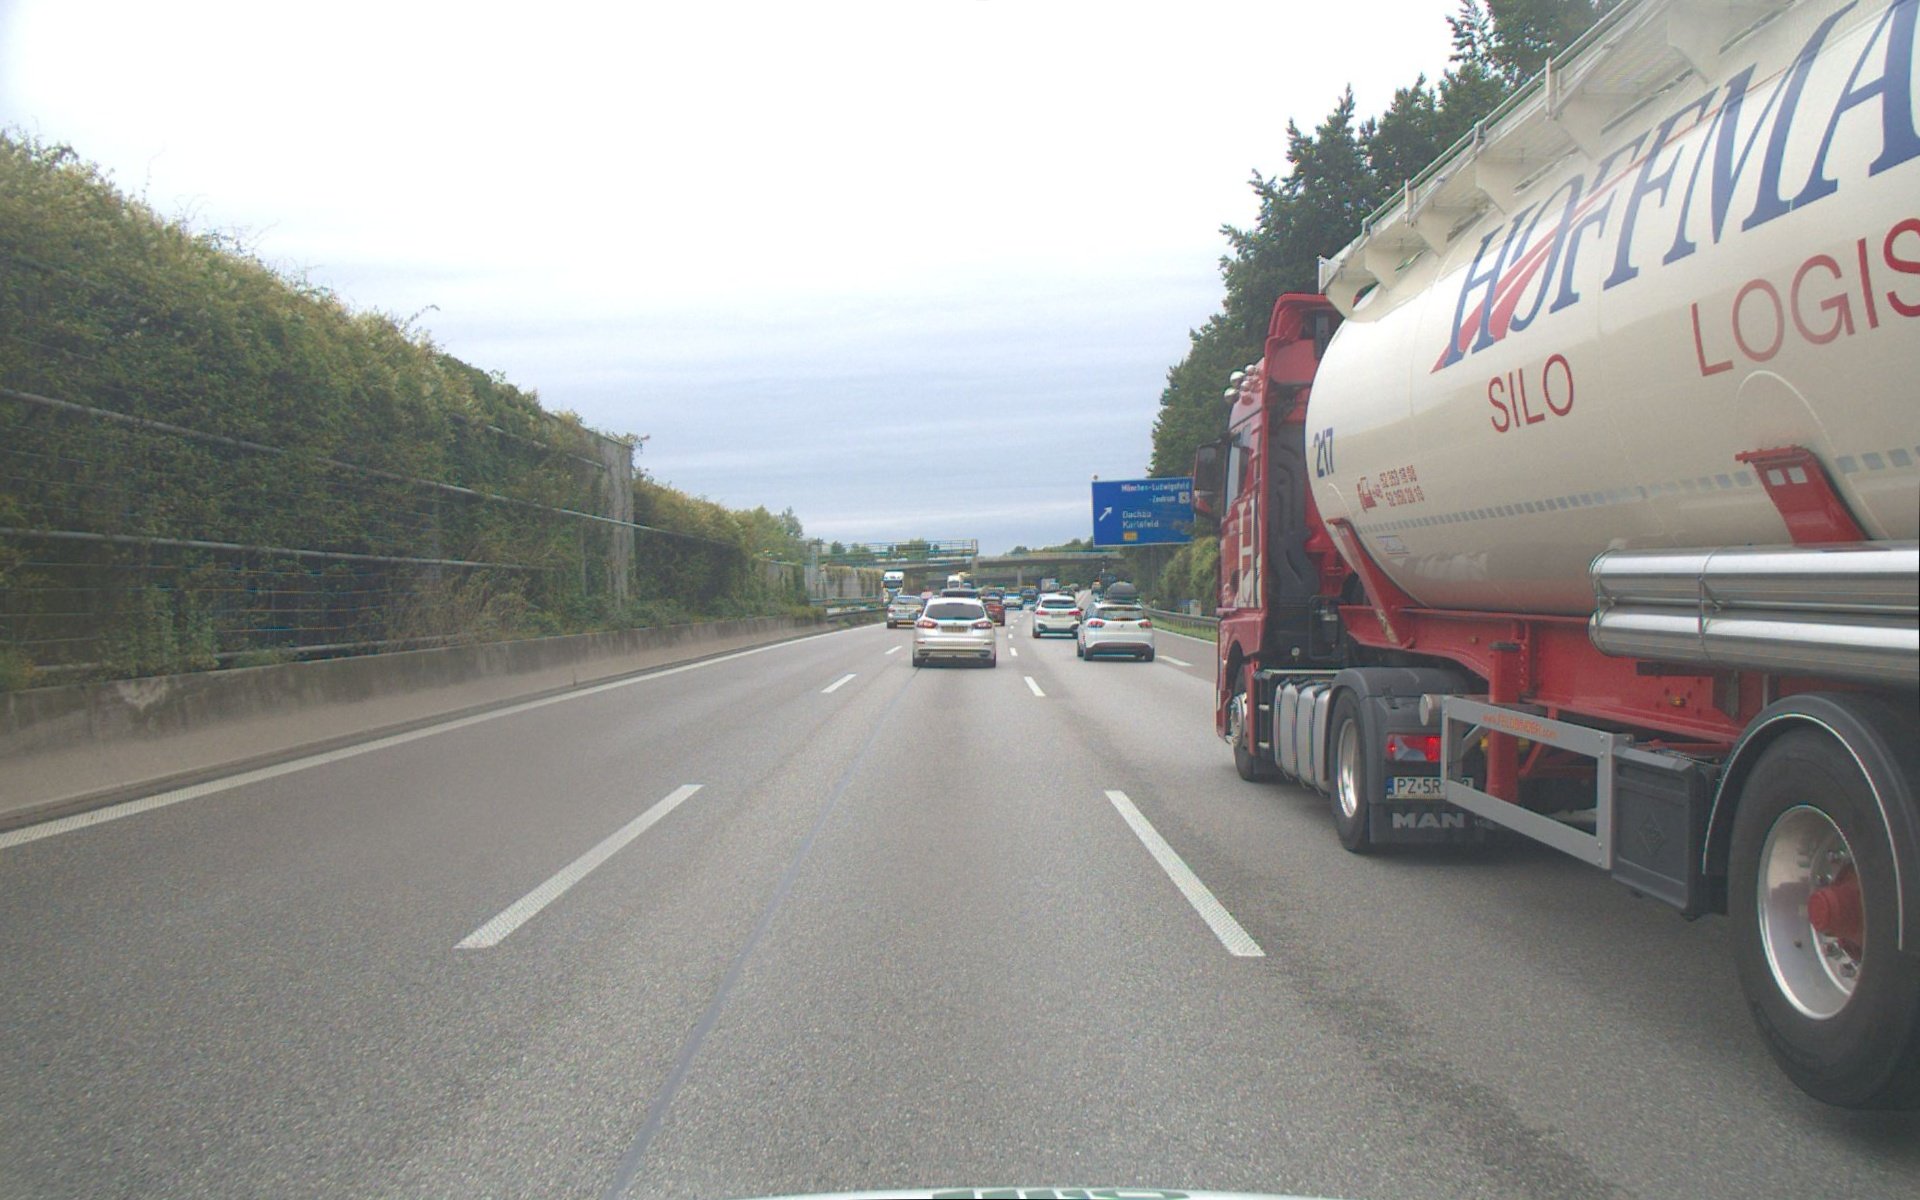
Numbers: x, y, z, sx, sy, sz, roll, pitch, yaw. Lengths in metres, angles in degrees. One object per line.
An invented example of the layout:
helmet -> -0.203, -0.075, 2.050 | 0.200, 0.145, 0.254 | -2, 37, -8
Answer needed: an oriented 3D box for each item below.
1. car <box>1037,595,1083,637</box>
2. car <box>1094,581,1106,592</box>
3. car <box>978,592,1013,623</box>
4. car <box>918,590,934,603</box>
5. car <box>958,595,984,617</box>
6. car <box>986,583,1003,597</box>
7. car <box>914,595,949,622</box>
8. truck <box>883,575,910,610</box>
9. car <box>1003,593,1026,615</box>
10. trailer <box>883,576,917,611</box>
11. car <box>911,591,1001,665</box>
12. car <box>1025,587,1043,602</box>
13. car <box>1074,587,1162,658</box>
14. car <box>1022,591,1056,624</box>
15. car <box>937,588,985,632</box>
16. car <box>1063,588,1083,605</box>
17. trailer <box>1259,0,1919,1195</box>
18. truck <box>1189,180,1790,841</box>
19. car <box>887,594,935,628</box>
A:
car -> 3.731, 0.600, 61.913 | 1.653, 1.533, 3.872 | 0, 0, 3
car -> 18.903, -1.813, 223.268 | 1.653, 1.447, 3.873 | 0, 0, 4
car -> 1.826, 0.384, 84.164 | 1.653, 1.533, 3.873 | 0, 0, 3
car -> -4.222, -0.399, 204.365 | 1.735, 1.597, 4.718 | 0, 0, 2
car -> 0.869, 0.486, 132.208 | 1.653, 1.668, 3.874 | -1, 0, 6
car -> 3.699, -1.048, 177.764 | 1.653, 1.447, 3.873 | 0, 0, 4
car -> -1.709, 0.494, 99.225 | 1.684, 1.538, 5.032 | 0, 0, 4
truck -> -7.816, -0.941, 203.899 | 2.612, 4.200, 5.920 | -1, 0, 5
car -> 4.768, 0.331, 144.021 | 1.752, 1.811, 3.874 | -1, 0, 6
trailer -> -7.459, -0.803, 207.946 | 2.612, 4.200, 13.138 | -1, 0, 5
car -> -0.156, 0.588, 36.823 | 1.853, 1.530, 5.028 | 0, 0, -2
car -> 7.883, -0.619, 177.021 | 1.653, 1.567, 3.874 | -1, 0, 6
car -> 3.880, 0.531, 41.337 | 1.778, 1.654, 5.030 | 1, 0, 1
car -> 4.588, 0.427, 95.484 | 1.653, 1.811, 3.874 | -2, -1, 6
car -> 0.053, 0.355, 63.775 | 1.654, 1.532, 3.872 | 4, 1, 2
car -> 10.669, -0.310, 155.881 | 1.653, 1.566, 3.874 | 0, 0, 6
trailer -> 3.689, -0.514, 6.041 | 2.614, 4.008, 13.127 | 0, 0, -1
truck -> 3.652, -0.547, 13.258 | 2.640, 3.981, 6.555 | 0, 0, -1
car -> -2.209, 0.545, 76.420 | 1.684, 1.495, 5.032 | 0, -1, 4
